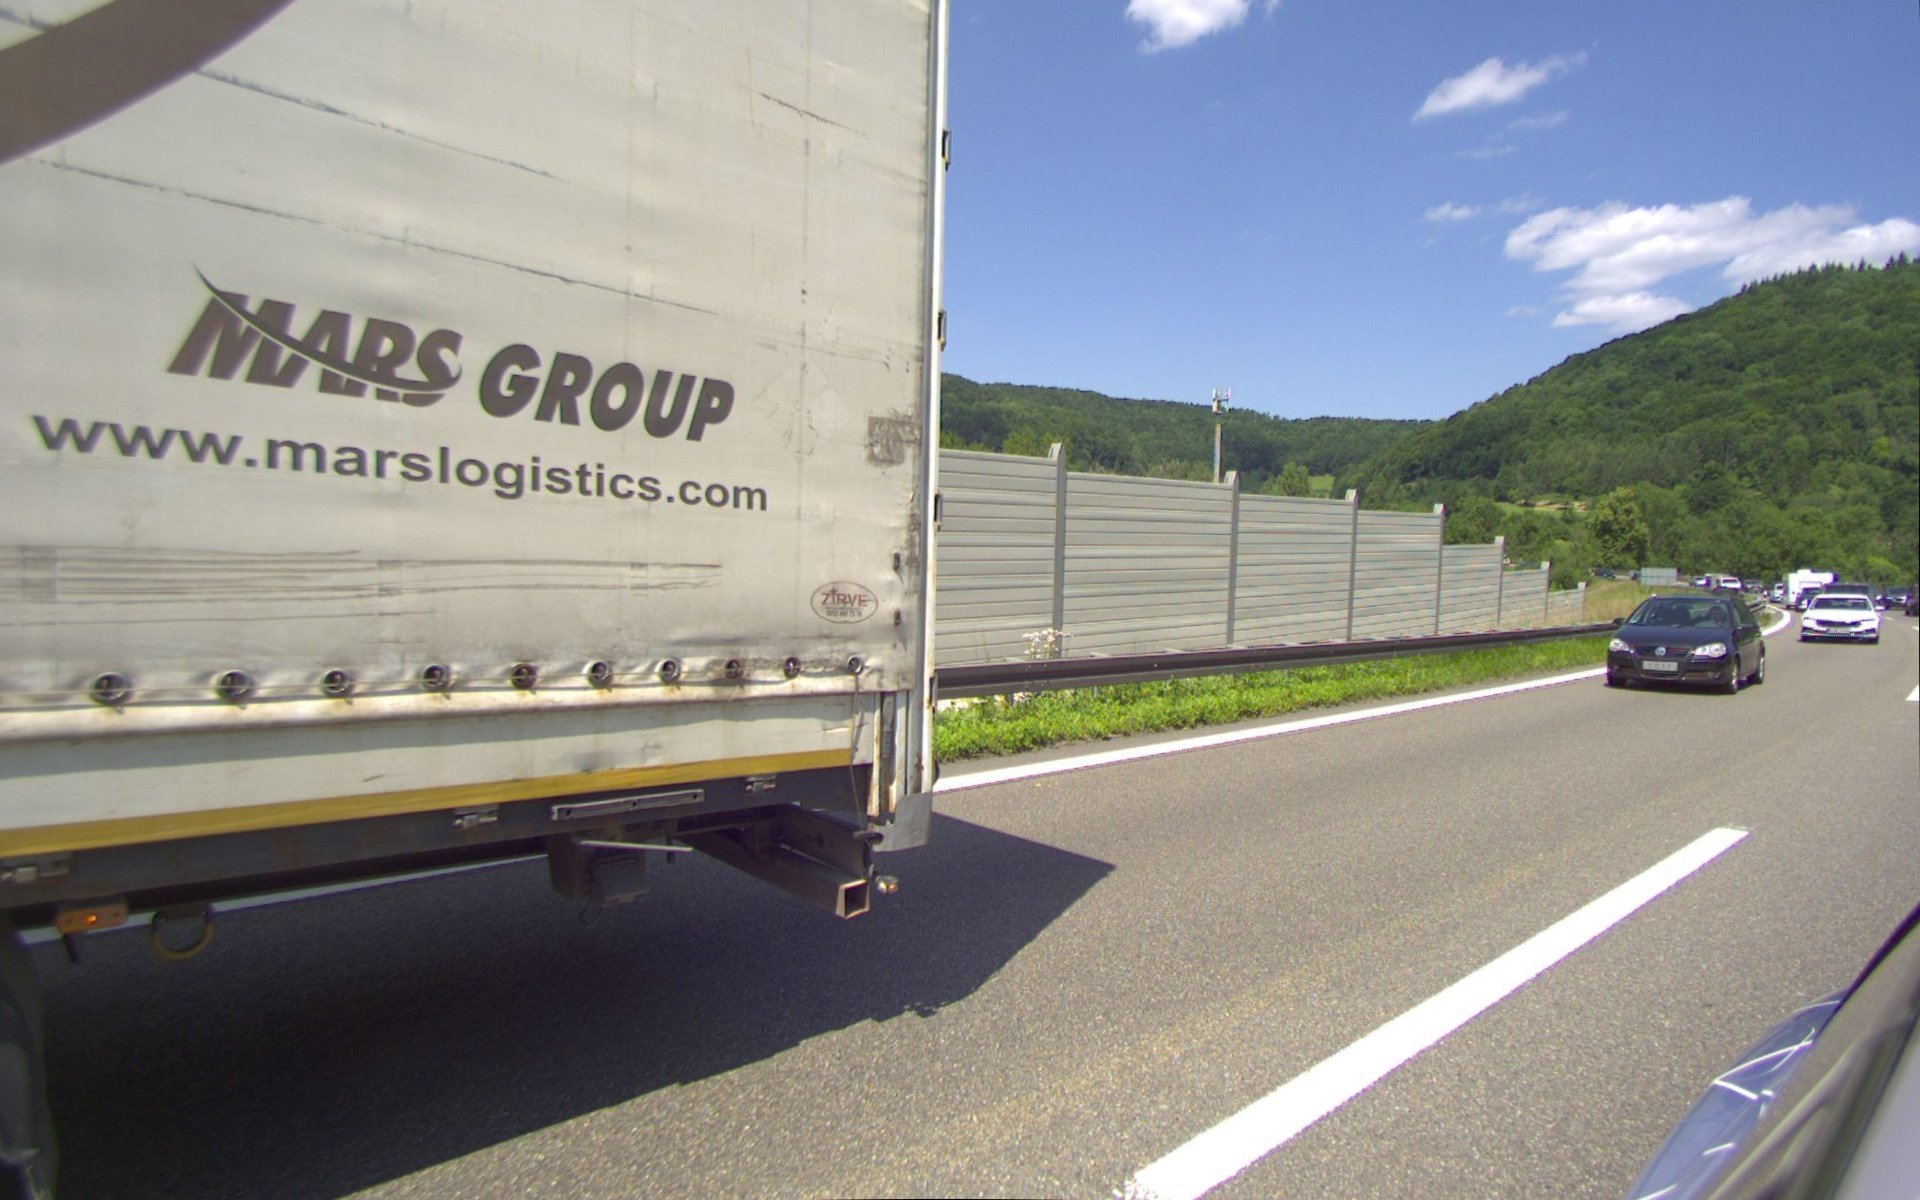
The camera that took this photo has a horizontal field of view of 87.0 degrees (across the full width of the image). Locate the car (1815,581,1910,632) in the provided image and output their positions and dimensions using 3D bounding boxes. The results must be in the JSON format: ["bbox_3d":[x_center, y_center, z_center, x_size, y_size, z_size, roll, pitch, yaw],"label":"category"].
[{"bbox_3d":[27.248,0.187,30.535,3.660,1.448,1.904,1,0,-44],"label":"car"}]

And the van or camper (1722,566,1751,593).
[{"bbox_3d":[89.172,-2.382,116.280,1.894,3.065,4.824,1,1,30],"label":"van or camper"}]

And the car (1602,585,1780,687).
[{"bbox_3d":[11.754,0.483,16.190,3.775,1.440,1.693,-1,1,-44],"label":"car"}]

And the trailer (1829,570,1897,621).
[{"bbox_3d":[38.039,-0.205,42.716,1.992,1.994,3.941,2,1,40],"label":"trailer"}]

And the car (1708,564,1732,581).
[{"bbox_3d":[93.948,-3.446,125.096,1.984,2.039,3.956,0,1,31],"label":"car"}]

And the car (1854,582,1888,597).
[{"bbox_3d":[71.865,-0.850,79.866,1.481,1.123,3.176,0,1,33],"label":"car"}]

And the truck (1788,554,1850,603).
[{"bbox_3d":[58.995,-1.456,69.660,2.588,3.147,6.770,-2,-1,36],"label":"truck"}]

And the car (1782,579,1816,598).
[{"bbox_3d":[70.203,-0.945,84.726,1.687,1.552,3.638,-2,-1,33],"label":"car"}]

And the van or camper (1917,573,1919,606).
[{"bbox_3d":[55.406,-0.566,56.984,1.809,1.890,3.564,0,1,37],"label":"van or camper"}]

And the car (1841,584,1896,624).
[{"bbox_3d":[35.629,0.125,39.757,1.484,1.400,3.683,4,3,41],"label":"car"}]
